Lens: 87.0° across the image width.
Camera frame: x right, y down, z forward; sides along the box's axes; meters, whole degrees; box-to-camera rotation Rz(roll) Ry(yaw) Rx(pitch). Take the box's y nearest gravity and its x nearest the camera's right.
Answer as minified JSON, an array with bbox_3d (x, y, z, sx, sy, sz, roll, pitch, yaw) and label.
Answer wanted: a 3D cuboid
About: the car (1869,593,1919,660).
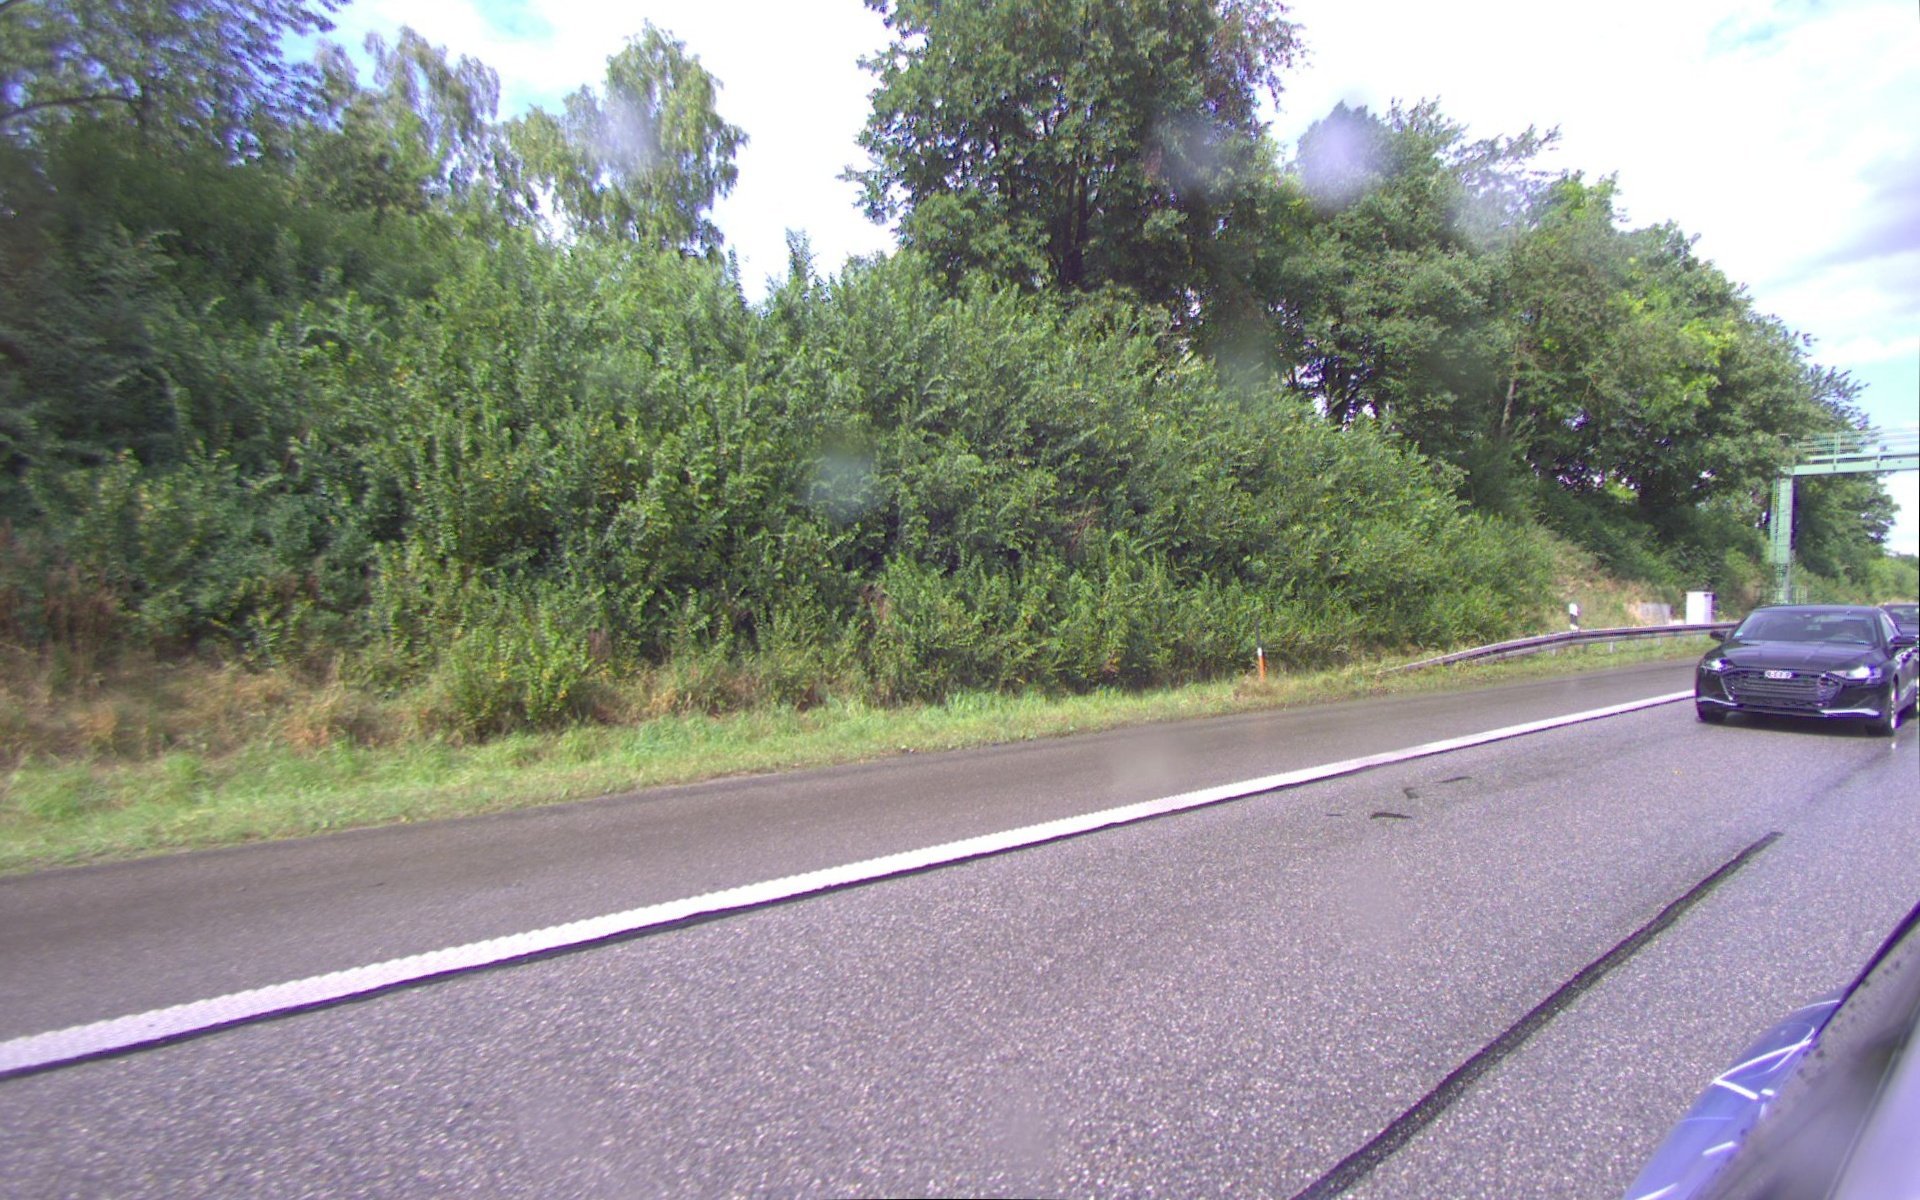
[{"bbox_3d":[22.584,0.576,23.651,3.681,1.474,1.653,0,1,-42],"label":"car"}]

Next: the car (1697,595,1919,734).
[{"bbox_3d":[10.735,0.651,12.494,4.292,1.414,1.758,0,1,-41],"label":"car"}]
